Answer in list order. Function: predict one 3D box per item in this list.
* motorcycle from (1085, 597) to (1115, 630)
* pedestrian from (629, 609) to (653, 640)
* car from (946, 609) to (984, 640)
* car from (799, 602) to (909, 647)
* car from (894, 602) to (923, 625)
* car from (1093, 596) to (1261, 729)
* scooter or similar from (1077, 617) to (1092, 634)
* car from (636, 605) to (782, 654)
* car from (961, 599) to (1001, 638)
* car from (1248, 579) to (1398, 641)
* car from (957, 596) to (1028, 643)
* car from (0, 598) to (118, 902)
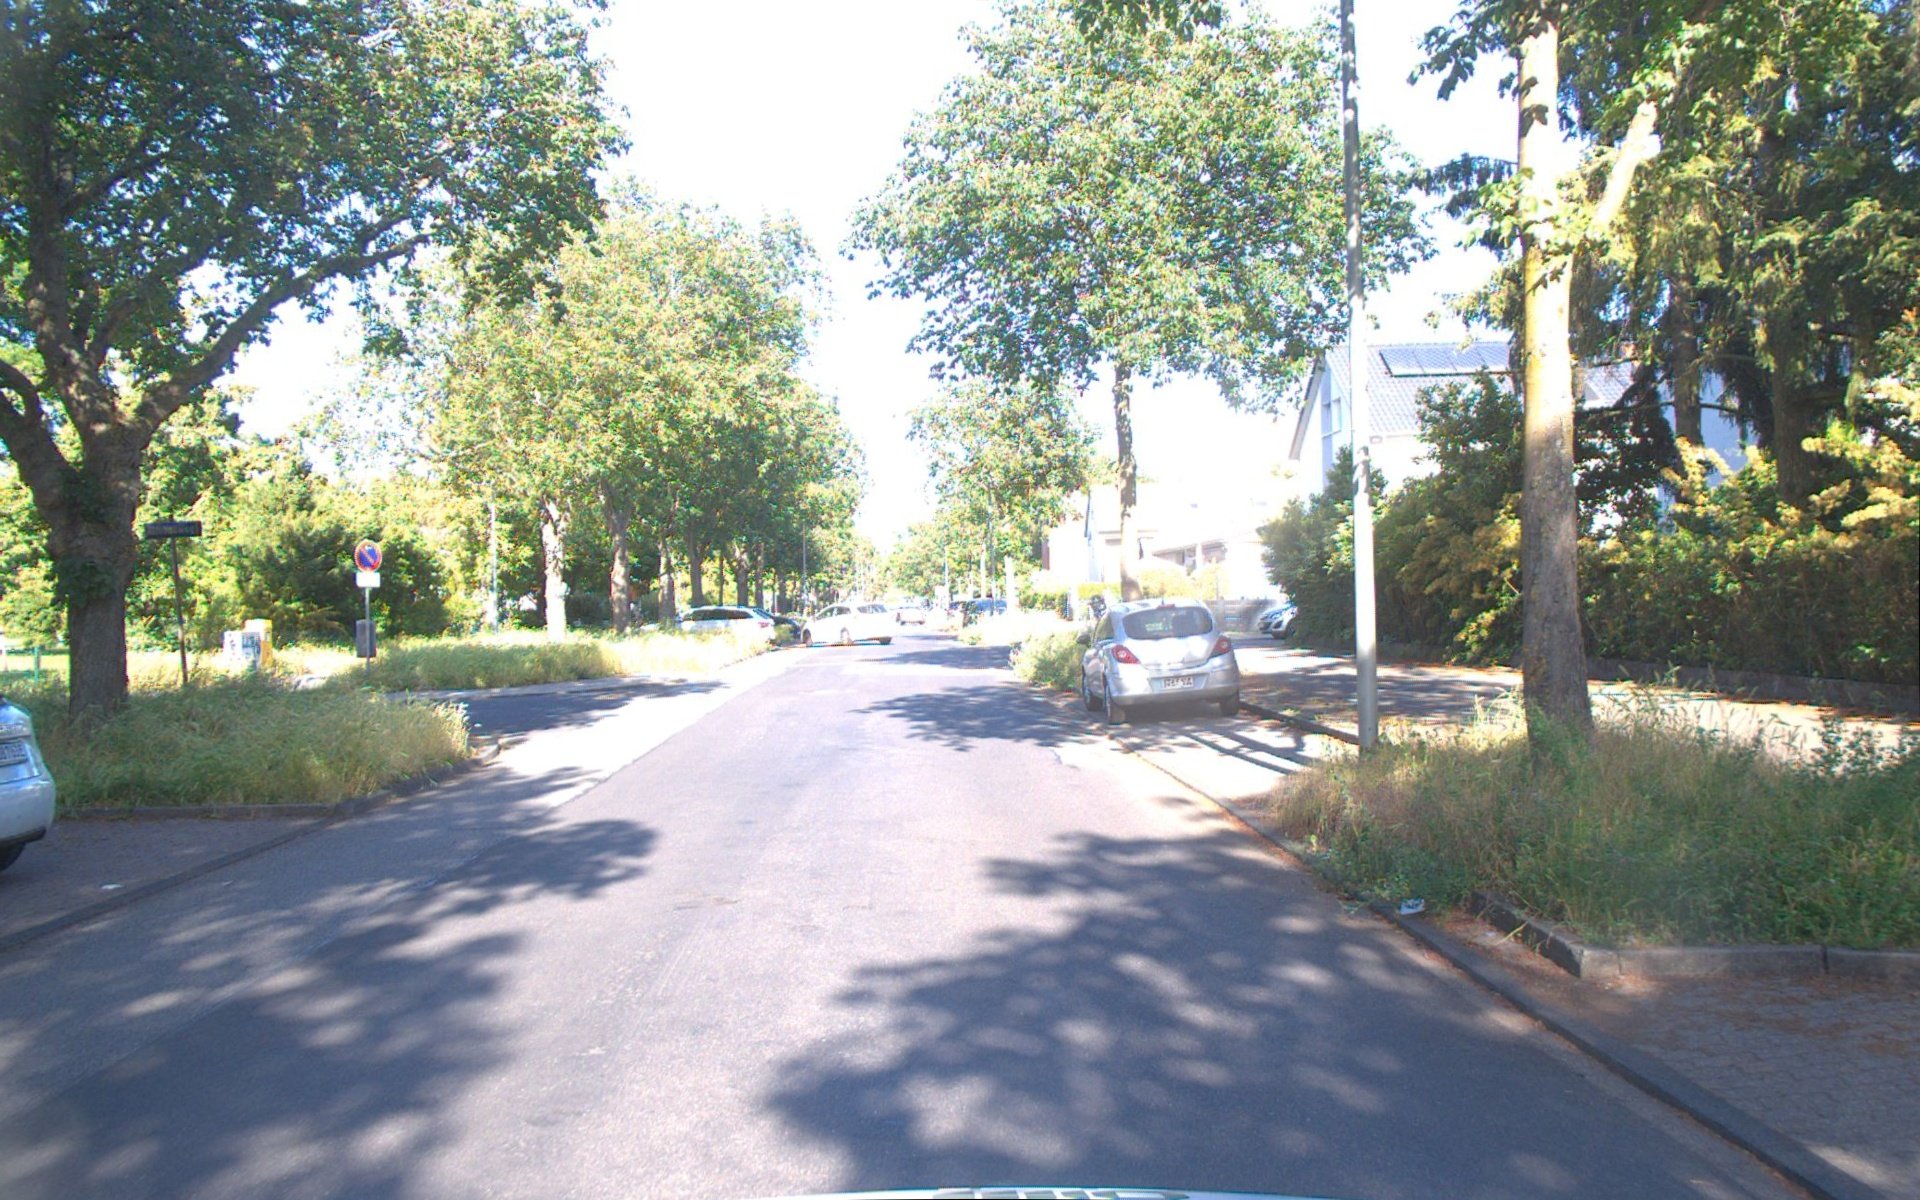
[{"bbox_3d":[5.463,0.521,64.543,0.801,1.248,2.350,-3,0,-3],"label":"motorcycle"},{"bbox_3d":[-19.130,1.477,99.060,1.206,1.859,1.542,0,-1,-19],"label":"pedestrian"},{"bbox_3d":[0.268,1.518,101.126,1.955,1.758,3.996,-3,-1,-4],"label":"car"},{"bbox_3d":[-3.769,0.843,58.163,1.977,1.480,4.172,-1,0,-35],"label":"car"},{"bbox_3d":[-3.685,0.963,118.732,1.954,1.534,3.655,2,-1,-4],"label":"car"},{"bbox_3d":[2.792,0.790,22.056,1.951,1.537,4.002,-3,-1,5],"label":"car"},{"bbox_3d":[6.679,1.358,88.821,0.362,0.873,1.406,0,-1,-15],"label":"scooter or similar"},{"bbox_3d":[-8.416,0.991,55.772,4.576,1.530,2.000,-1,0,-1],"label":"car"},{"bbox_3d":[0.902,0.812,74.006,1.578,1.650,4.380,2,-1,-2],"label":"car"},{"bbox_3d":[10.681,0.274,48.794,3.913,1.668,1.773,-2,0,-8],"label":"car"},{"bbox_3d":[1.185,0.739,62.248,1.956,1.650,4.373,2,-1,-8],"label":"car"},{"bbox_3d":[-7.325,0.871,9.528,3.908,1.690,1.965,-1,0,-3],"label":"car"}]
